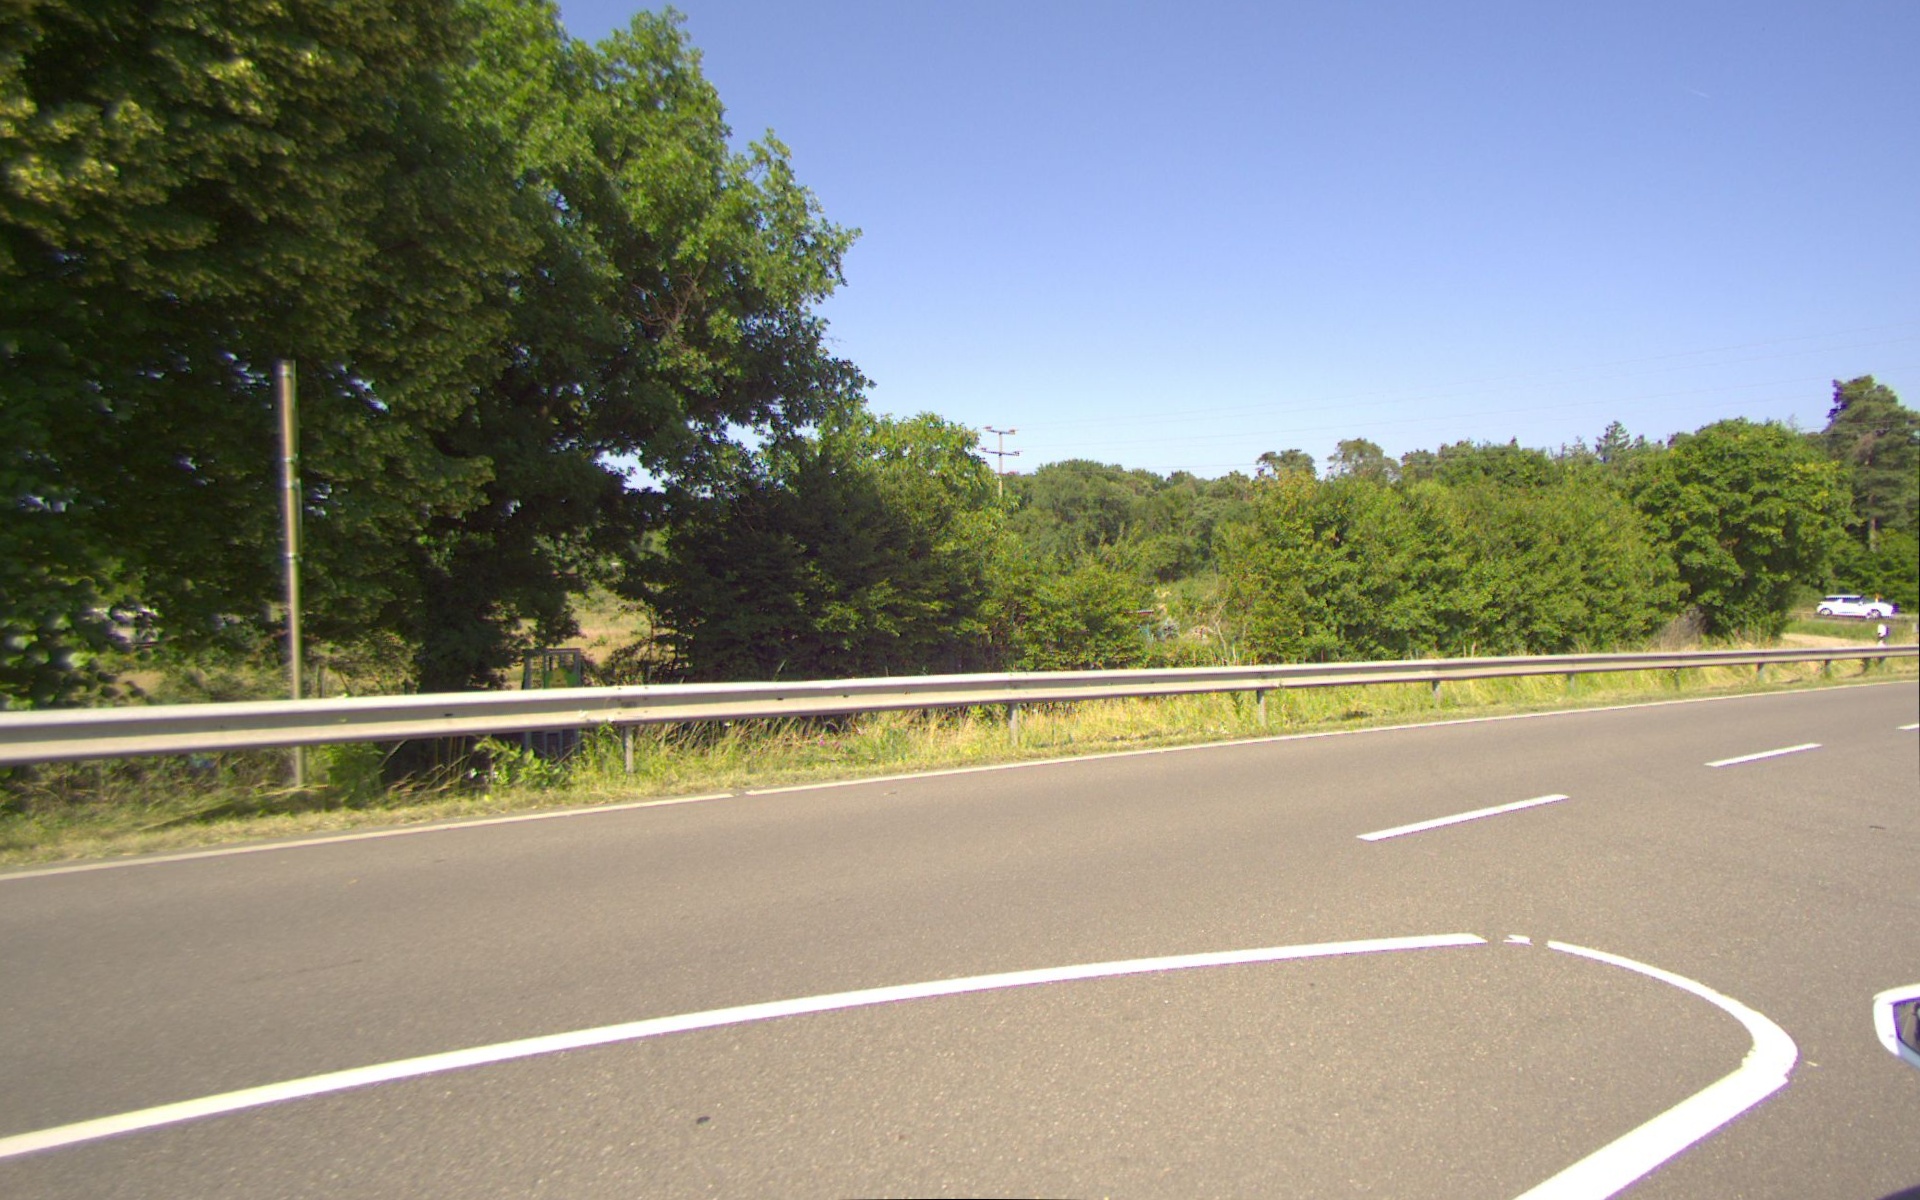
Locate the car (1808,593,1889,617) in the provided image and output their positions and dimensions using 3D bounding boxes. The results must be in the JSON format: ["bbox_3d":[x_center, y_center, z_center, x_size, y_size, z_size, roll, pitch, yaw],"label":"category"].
[{"bbox_3d":[59.303,0.311,67.078,1.874,1.506,3.803,1,0,-38],"label":"car"}]
